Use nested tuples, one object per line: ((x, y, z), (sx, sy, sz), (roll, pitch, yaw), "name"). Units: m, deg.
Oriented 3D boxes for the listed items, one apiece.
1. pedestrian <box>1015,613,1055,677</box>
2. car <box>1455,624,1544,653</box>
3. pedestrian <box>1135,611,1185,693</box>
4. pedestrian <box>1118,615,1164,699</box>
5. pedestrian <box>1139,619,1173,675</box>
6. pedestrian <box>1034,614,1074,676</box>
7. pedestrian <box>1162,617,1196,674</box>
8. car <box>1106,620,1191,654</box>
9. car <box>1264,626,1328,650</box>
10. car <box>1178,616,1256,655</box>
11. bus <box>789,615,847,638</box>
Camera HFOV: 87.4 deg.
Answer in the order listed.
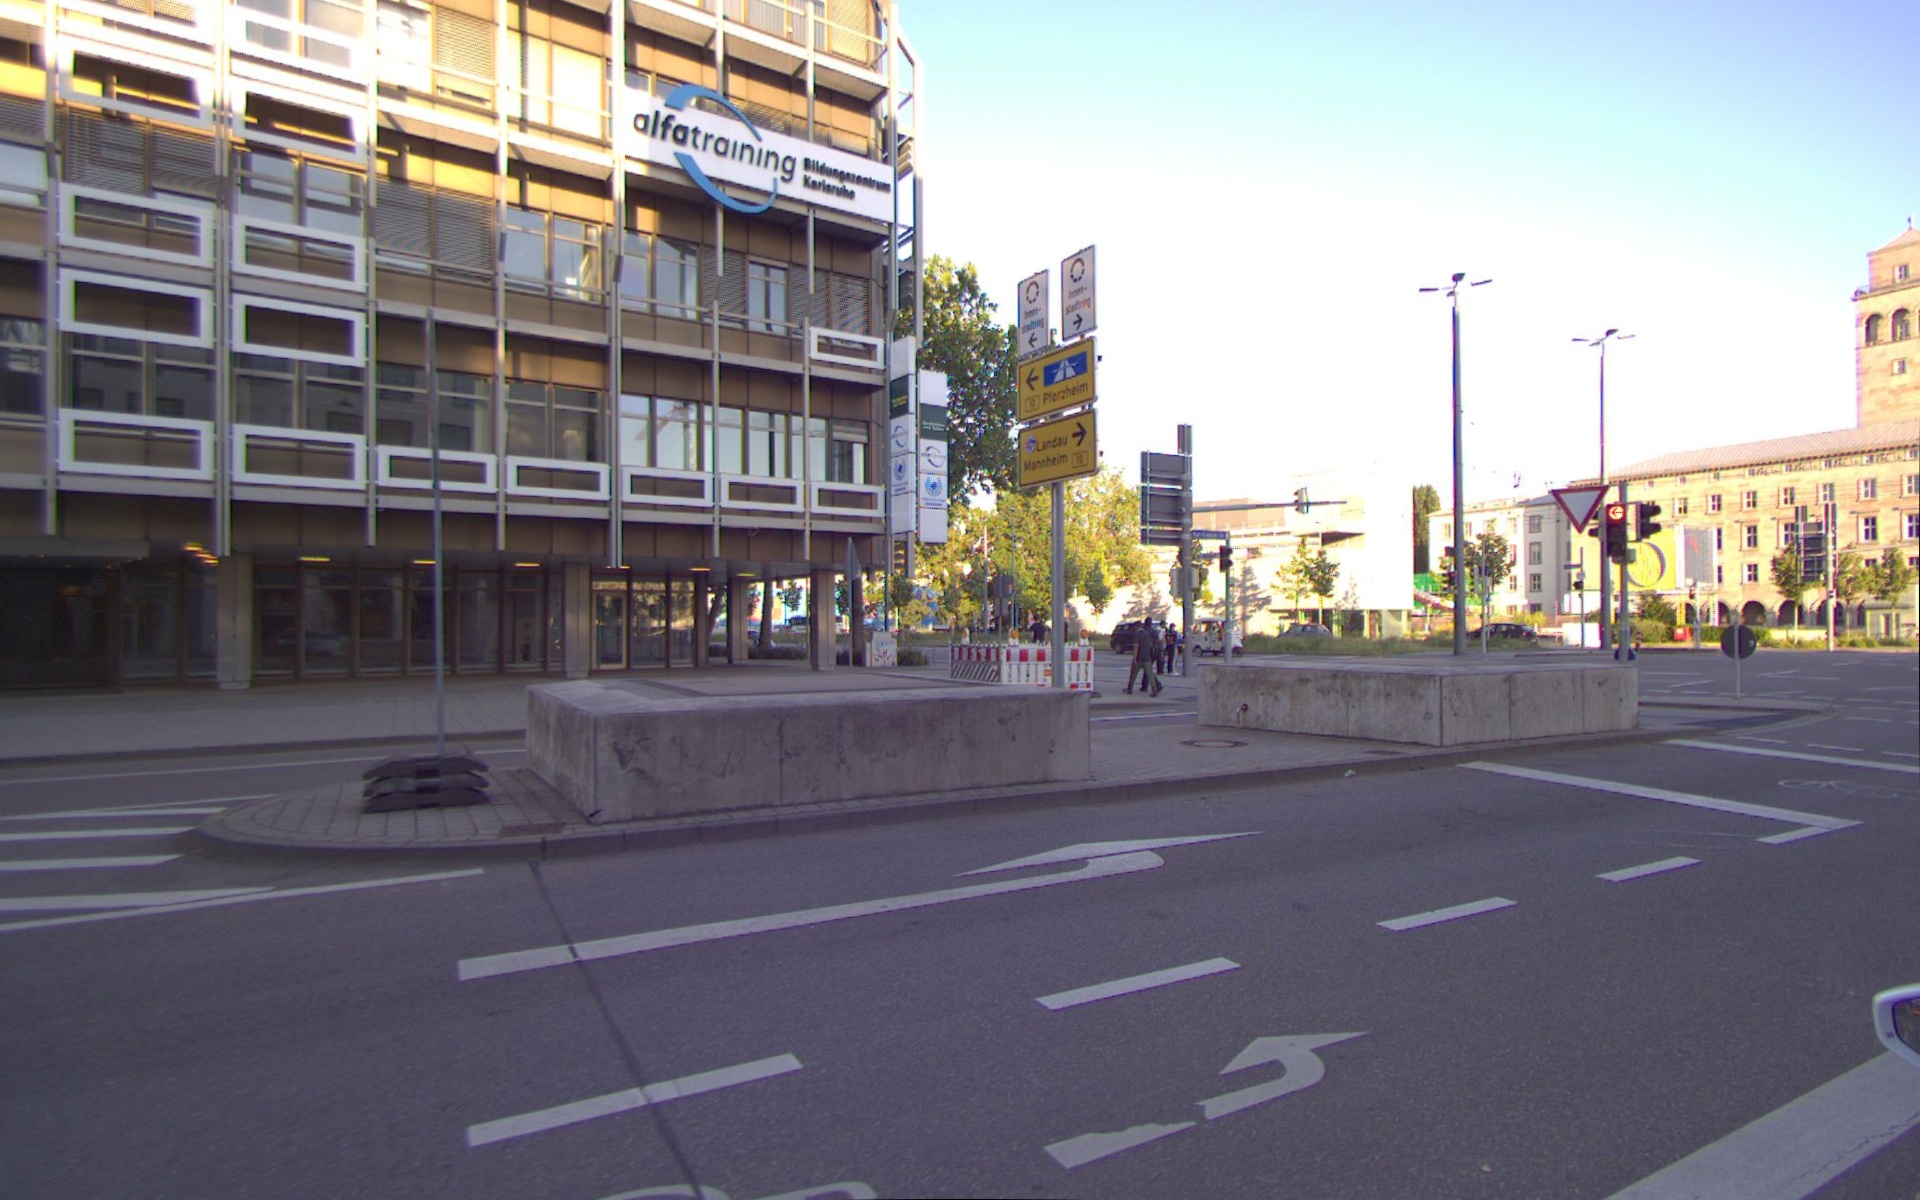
((2.186, 1.308, 29.171), (0.852, 1.800, 0.736), (0, -4, -27), "pedestrian")
((28.980, 2.044, 54.043), (1.532, 1.472, 3.944), (0, -2, -39), "car")
((4.515, 1.154, 22.701), (0.855, 1.800, 0.733), (0, 0, -35), "pedestrian")
((3.973, 1.224, 22.062), (0.728, 1.800, 0.861), (-1, -1, 31), "pedestrian")
((6.421, 1.537, 32.900), (0.848, 1.800, 0.740), (-3, -4, 28), "pedestrian")
((2.768, 1.329, 29.606), (0.853, 1.800, 0.735), (0, -4, -31), "pedestrian")
((7.045, 1.476, 32.319), (0.848, 1.800, 0.740), (-3, -4, 28), "pedestrian")
((9.355, 1.848, 50.113), (1.681, 1.613, 4.150), (0, -2, -37), "car")
((21.324, 2.385, 63.895), (1.530, 1.472, 3.689), (0, -2, -35), "car")
((11.824, 1.621, 46.320), (1.600, 1.707, 3.102), (1, -2, -43), "car")
((-18.832, 3.461, 132.914), (3.188, 2.948, 10.423), (0, -1, -36), "bus")
